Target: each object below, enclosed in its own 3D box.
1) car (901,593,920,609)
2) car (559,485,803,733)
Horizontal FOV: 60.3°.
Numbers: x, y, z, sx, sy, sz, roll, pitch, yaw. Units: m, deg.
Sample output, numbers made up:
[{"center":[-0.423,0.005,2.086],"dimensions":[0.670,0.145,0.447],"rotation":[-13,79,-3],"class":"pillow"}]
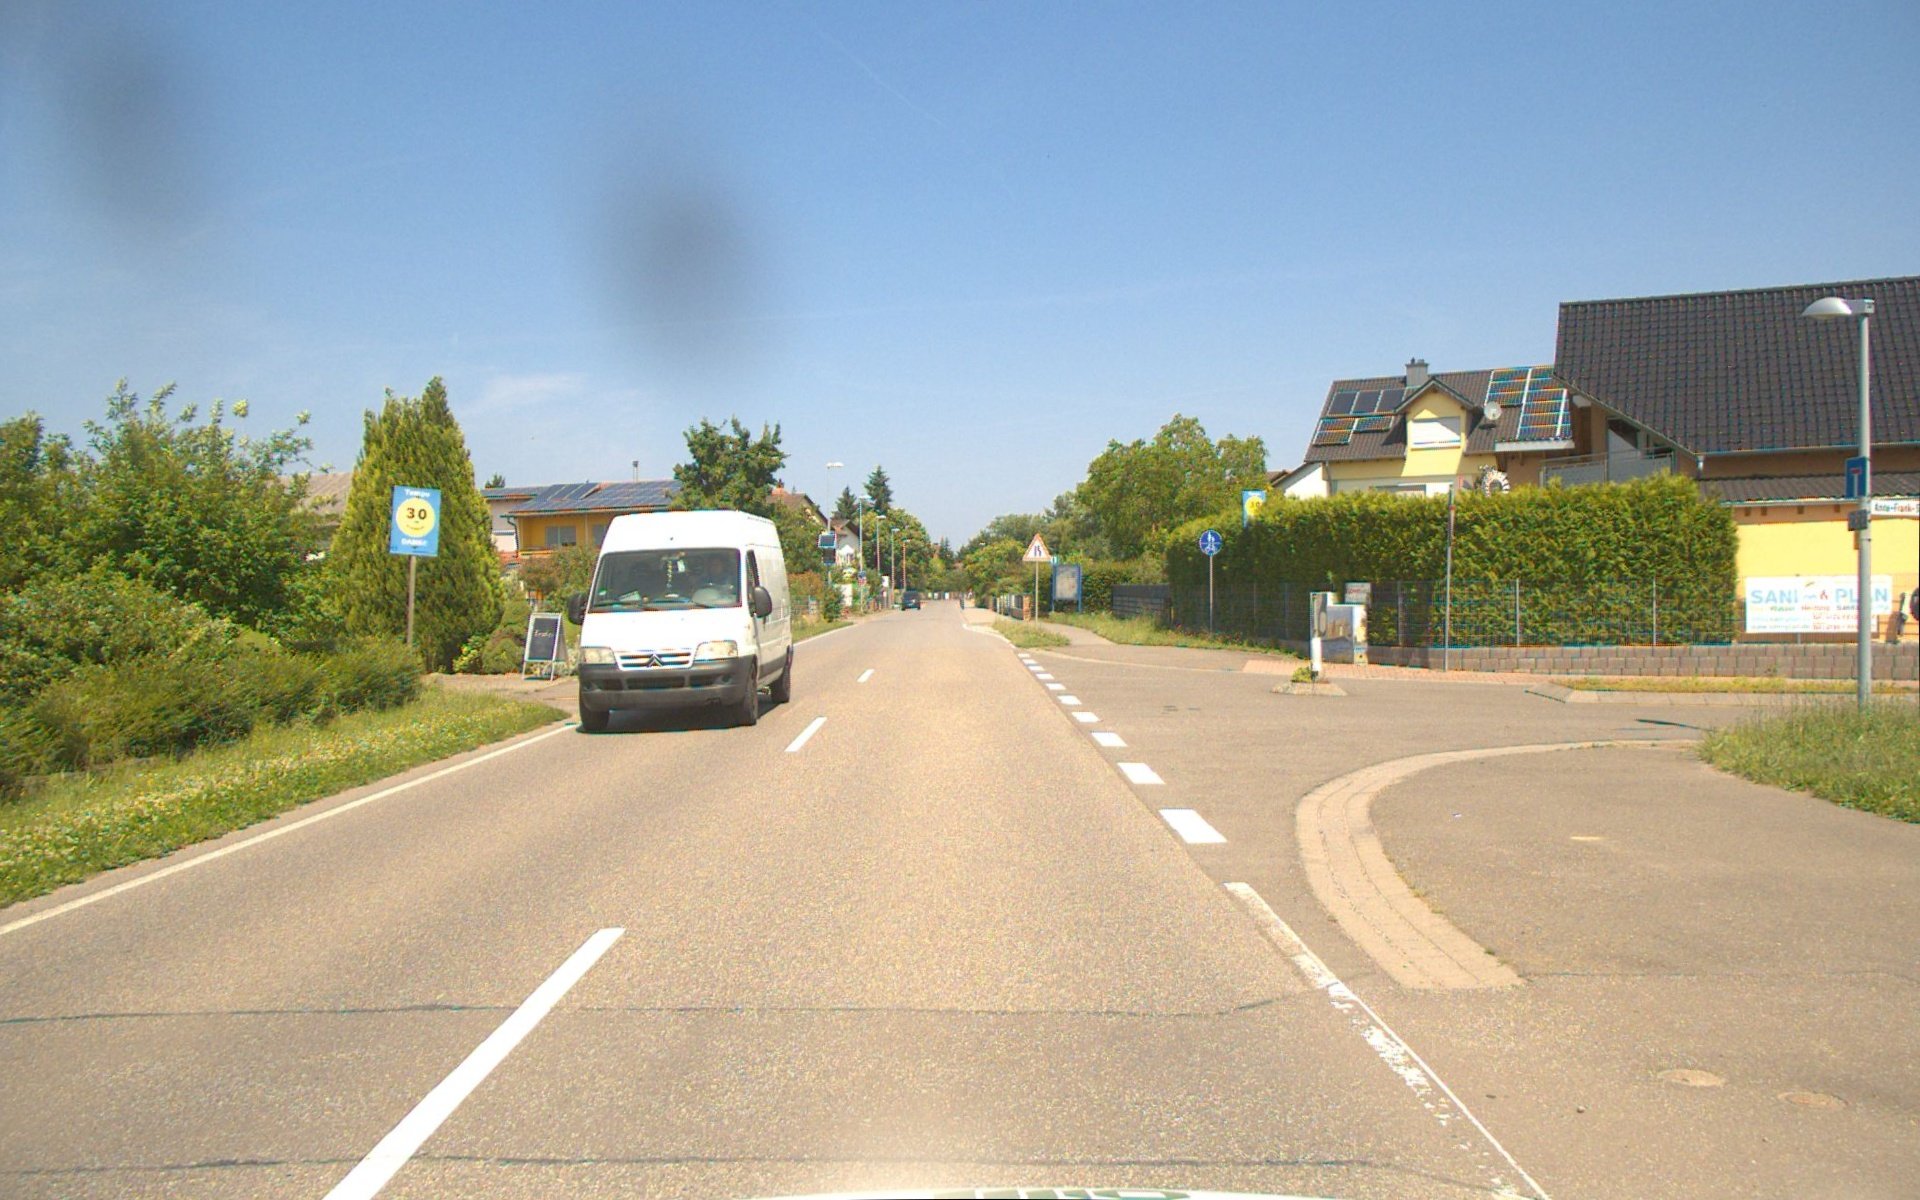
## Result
[{"center":[-4.758,0.099,160.199],"dimensions":[1.723,1.409,3.452],"rotation":[-2,0,-1],"class":"car"},{"center":[-3.262,0.053,20.640],"dimensions":[2.035,2.586,5.872],"rotation":[-2,1,-1],"class":"car"}]
